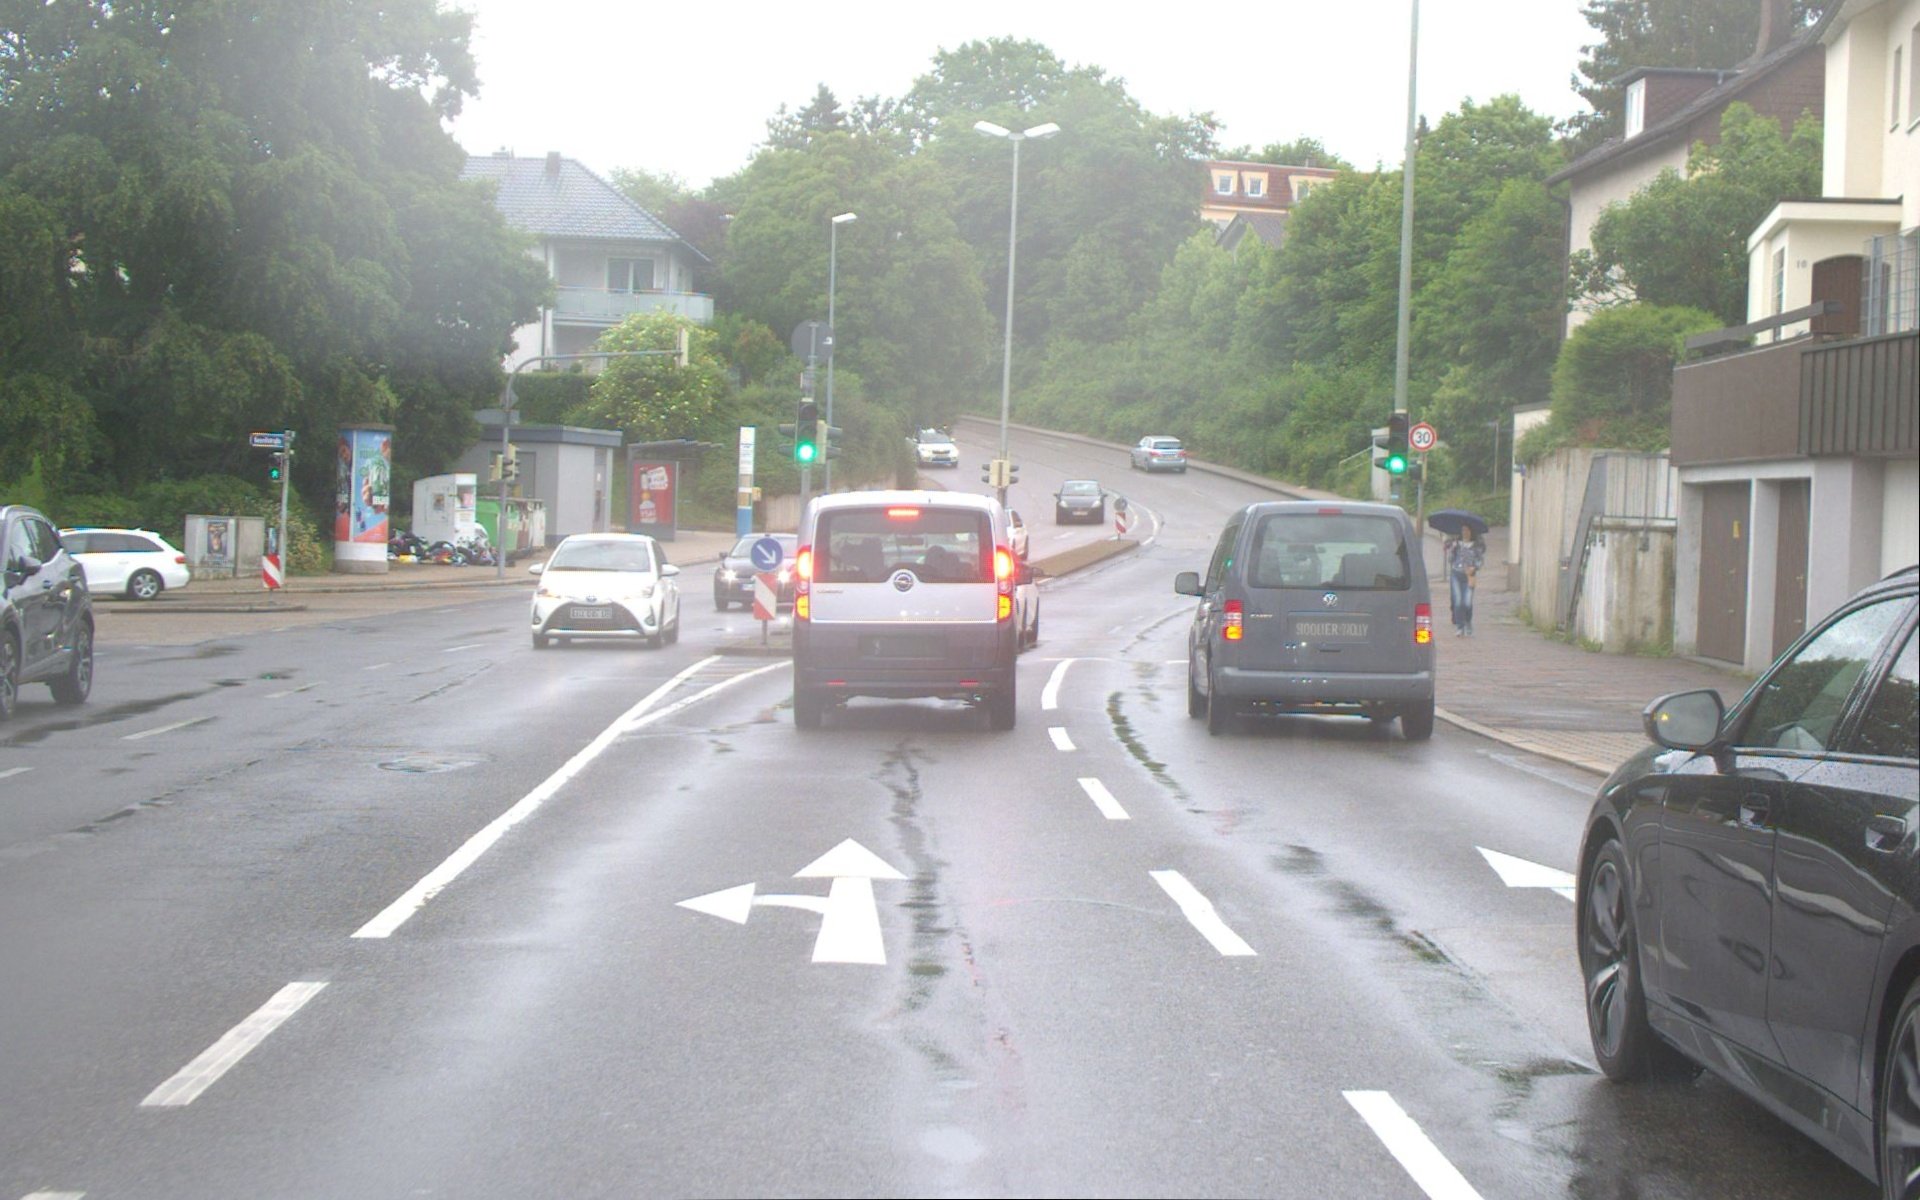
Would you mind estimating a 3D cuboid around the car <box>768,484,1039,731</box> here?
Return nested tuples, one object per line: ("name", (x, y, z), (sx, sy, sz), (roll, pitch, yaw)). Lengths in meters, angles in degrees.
("car", (-0.380, 0.004, 28.456), (1.951, 1.864, 4.746), (0, 1, 3))

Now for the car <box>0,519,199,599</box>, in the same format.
("car", (-17.085, -0.802, 67.110), (3.986, 1.525, 1.839), (0, 1, -29))

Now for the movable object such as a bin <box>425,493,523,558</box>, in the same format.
("movable object such as a bin", (-12.256, -1.900, 86.815), (2.058, 1.563, 1.581), (1, 3, 11))

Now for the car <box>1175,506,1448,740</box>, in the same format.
("car", (2.755, 0.130, 27.751), (1.994, 1.742, 4.000), (0, 1, 3))

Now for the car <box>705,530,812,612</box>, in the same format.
("car", (-3.790, -0.566, 65.221), (1.712, 1.497, 4.000), (1, 1, 1))

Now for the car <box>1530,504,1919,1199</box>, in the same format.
("car", (2.810, 0.604, 7.930), (1.993, 1.580, 4.664), (2, 1, -2))

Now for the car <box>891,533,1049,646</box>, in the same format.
("car", (0.182, -0.180, 48.071), (1.835, 1.482, 4.058), (1, 1, 5))

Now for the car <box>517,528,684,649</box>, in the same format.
("car", (-4.721, -0.191, 45.618), (1.832, 1.525, 4.000), (0, 1, -1))

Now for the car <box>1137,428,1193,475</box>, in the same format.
("car", (9.140, -6.617, 153.591), (1.993, 2.007, 4.001), (0, 1, -3))

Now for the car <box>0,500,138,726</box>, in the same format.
("car", (-7.981, 0.061, 27.377), (1.804, 1.664, 4.599), (1, 1, -1))

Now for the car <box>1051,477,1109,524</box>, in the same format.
("car", (4.231, -3.493, 121.164), (1.993, 1.568, 4.000), (1, 1, 2))

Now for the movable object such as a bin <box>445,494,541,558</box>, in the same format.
("movable object such as a bin", (-11.990, -1.910, 88.392), (2.058, 1.563, 1.581), (1, 3, 11))

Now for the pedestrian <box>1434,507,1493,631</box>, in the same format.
("pedestrian", (7.328, -0.455, 50.085), (0.794, 1.774, 1.011), (0, 1, 6))

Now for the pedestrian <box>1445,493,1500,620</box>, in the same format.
("pedestrian", (8.229, -0.697, 55.260), (0.797, 2.007, 0.734), (1, 1, 6))

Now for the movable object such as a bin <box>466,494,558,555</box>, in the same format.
("movable object such as a bin", (-11.706, -1.977, 89.845), (2.058, 1.509, 1.343), (1, 3, 11))

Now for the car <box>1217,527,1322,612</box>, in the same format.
("car", (6.704, -0.691, 74.808), (1.851, 1.656, 4.001), (2, 3, 0))

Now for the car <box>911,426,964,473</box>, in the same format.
("car", (-1.035, -6.772, 154.977), (1.993, 2.007, 4.001), (0, 1, -6))
